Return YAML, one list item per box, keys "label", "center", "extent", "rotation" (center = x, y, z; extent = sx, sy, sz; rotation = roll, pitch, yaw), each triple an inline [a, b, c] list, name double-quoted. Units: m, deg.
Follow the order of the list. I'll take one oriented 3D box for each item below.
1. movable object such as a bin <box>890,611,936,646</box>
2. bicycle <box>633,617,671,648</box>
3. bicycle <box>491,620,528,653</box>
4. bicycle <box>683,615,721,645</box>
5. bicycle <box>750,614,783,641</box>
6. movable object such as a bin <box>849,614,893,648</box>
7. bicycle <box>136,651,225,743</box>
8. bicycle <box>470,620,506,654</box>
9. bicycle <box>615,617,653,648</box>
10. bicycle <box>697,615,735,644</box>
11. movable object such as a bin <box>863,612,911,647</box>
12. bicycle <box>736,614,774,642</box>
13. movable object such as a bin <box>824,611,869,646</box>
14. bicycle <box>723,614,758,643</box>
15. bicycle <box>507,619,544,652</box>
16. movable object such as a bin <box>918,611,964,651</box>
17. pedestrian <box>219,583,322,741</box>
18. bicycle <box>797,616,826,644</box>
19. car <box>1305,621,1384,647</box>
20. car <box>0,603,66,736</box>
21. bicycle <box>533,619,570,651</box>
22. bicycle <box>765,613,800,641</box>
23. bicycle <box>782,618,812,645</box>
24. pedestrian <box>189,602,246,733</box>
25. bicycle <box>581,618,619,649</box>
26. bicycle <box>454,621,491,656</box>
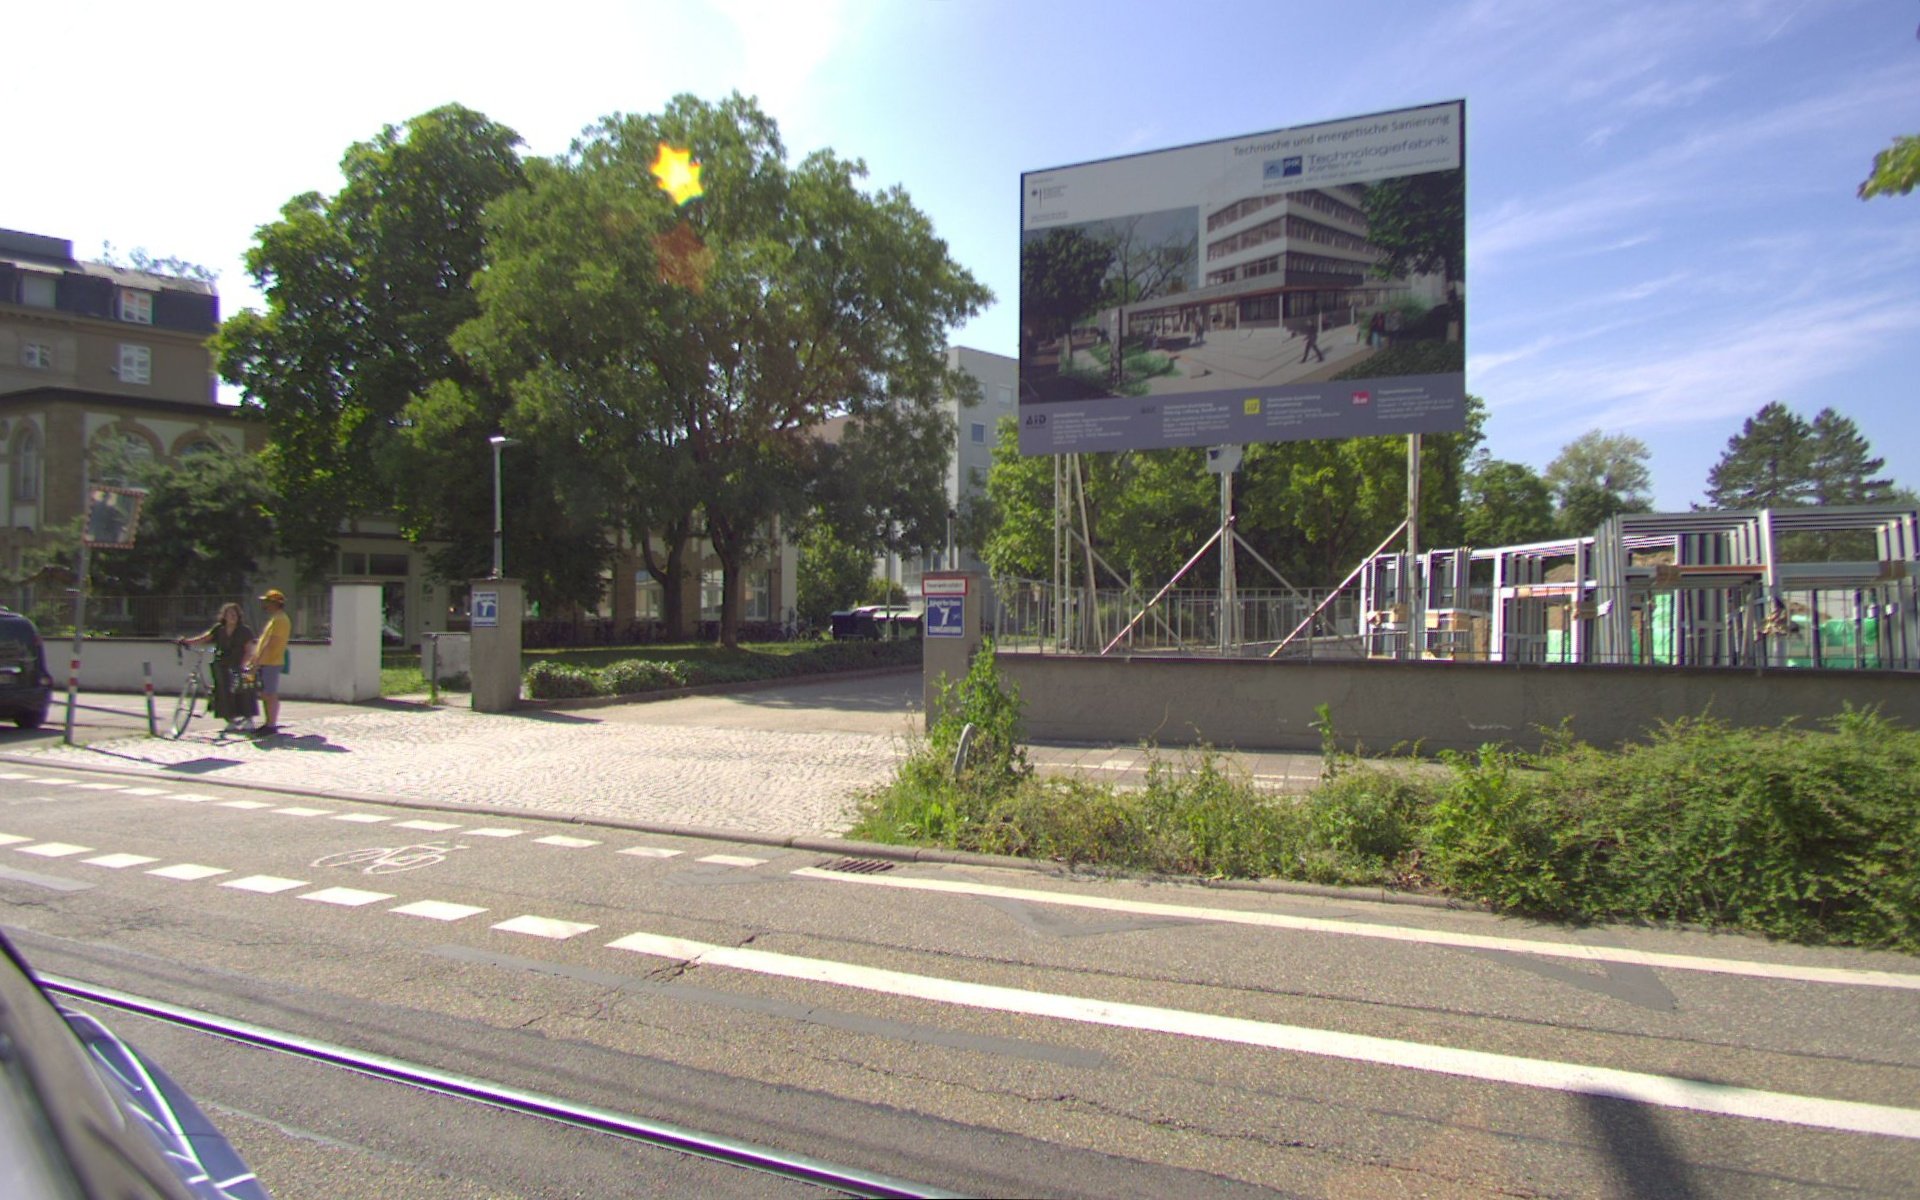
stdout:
- label: "movable object such as a bin"
  center: [-1.823, 1.096, 39.137]
  extent: [1.356, 1.310, 1.198]
  rotation: [-1, -1, 44]
- label: "bicycle"
  center: [-12.179, 1.274, 40.000]
  extent: [0.579, 1.170, 2.105]
  rotation: [1, -1, -42]
- label: "bicycle"
  center: [-16.191, 1.291, 36.332]
  extent: [0.579, 1.170, 2.105]
  rotation: [1, -1, -42]
- label: "bicycle"
  center: [-10.539, 1.205, 41.321]
  extent: [0.579, 1.170, 2.105]
  rotation: [1, -1, -42]
- label: "bicycle"
  center: [-8.304, 1.169, 43.382]
  extent: [0.487, 1.170, 1.916]
  rotation: [1, -1, -42]
- label: "movable object such as a bin"
  center: [-3.656, 1.248, 41.583]
  extent: [1.353, 1.359, 1.198]
  rotation: [-1, -1, 44]
- label: "bicycle"
  center: [-9.850, 1.191, 12.835]
  extent: [0.357, 1.049, 1.517]
  rotation: [0, -1, -16]
- label: "bicycle"
  center: [-16.730, 1.300, 35.840]
  extent: [0.579, 1.170, 2.105]
  rotation: [1, -1, -42]
- label: "bicycle"
  center: [-12.716, 1.261, 39.456]
  extent: [0.579, 1.170, 2.105]
  rotation: [1, -1, -42]
- label: "bicycle"
  center: [-10.091, 1.198, 41.810]
  extent: [0.579, 1.170, 2.105]
  rotation: [1, -1, -42]
- label: "movable object such as a bin"
  center: [-2.902, 1.148, 40.217]
  extent: [1.502, 1.372, 1.198]
  rotation: [-1, -1, 44]
- label: "bicycle"
  center: [-8.733, 1.168, 43.014]
  extent: [0.579, 1.170, 2.105]
  rotation: [1, -1, -42]
- label: "movable object such as a bin"
  center: [-4.786, 1.198, 42.681]
  extent: [1.436, 1.420, 1.232]
  rotation: [-1, -1, 43]
- label: "bicycle"
  center: [-9.227, 1.185, 42.460]
  extent: [0.579, 1.170, 1.924]
  rotation: [1, -1, -42]
- label: "bicycle"
  center: [-15.824, 1.286, 36.841]
  extent: [0.579, 1.170, 2.105]
  rotation: [1, -1, -42]
- label: "movable object such as a bin"
  center: [-0.733, 1.146, 38.140]
  extent: [1.194, 1.474, 1.396]
  rotation: [0, -1, -31]
- label: "pedestrian"
  center: [-8.610, 0.744, 12.640]
  extent: [0.829, 1.879, 0.843]
  rotation: [-1, -1, 38]
- label: "bicycle"
  center: [-6.548, 1.302, 44.521]
  extent: [0.548, 1.170, 1.950]
  rotation: [0, -1, -32]
- label: "car"
  center: [23.262, 2.037, 61.277]
  extent: [4.000, 1.519, 1.972]
  rotation: [-1, -2, 43]
- label: "car"
  center: [-14.113, 0.899, 13.457]
  extent: [3.975, 1.697, 1.842]
  rotation: [-1, -1, 24]
- label: "bicycle"
  center: [-15.107, 1.275, 37.416]
  extent: [0.579, 1.170, 2.105]
  rotation: [1, -1, -42]
- label: "bicycle"
  center: [-7.715, 1.159, 43.996]
  extent: [0.604, 1.170, 1.853]
  rotation: [1, -1, -42]
- label: "bicycle"
  center: [-7.143, 1.367, 44.309]
  extent: [0.499, 1.170, 1.809]
  rotation: [1, -1, -37]
- label: "pedestrian"
  center: [-9.523, 0.853, 12.989]
  extent: [0.415, 1.633, 0.455]
  rotation: [-1, 1, -16]
- label: "bicycle"
  center: [-13.728, 1.254, 38.574]
  extent: [0.579, 1.170, 2.105]
  rotation: [1, -1, -42]
- label: "bicycle"
  center: [-16.909, 1.303, 35.072]
  extent: [0.579, 1.170, 2.105]
  rotation: [1, -1, -42]
